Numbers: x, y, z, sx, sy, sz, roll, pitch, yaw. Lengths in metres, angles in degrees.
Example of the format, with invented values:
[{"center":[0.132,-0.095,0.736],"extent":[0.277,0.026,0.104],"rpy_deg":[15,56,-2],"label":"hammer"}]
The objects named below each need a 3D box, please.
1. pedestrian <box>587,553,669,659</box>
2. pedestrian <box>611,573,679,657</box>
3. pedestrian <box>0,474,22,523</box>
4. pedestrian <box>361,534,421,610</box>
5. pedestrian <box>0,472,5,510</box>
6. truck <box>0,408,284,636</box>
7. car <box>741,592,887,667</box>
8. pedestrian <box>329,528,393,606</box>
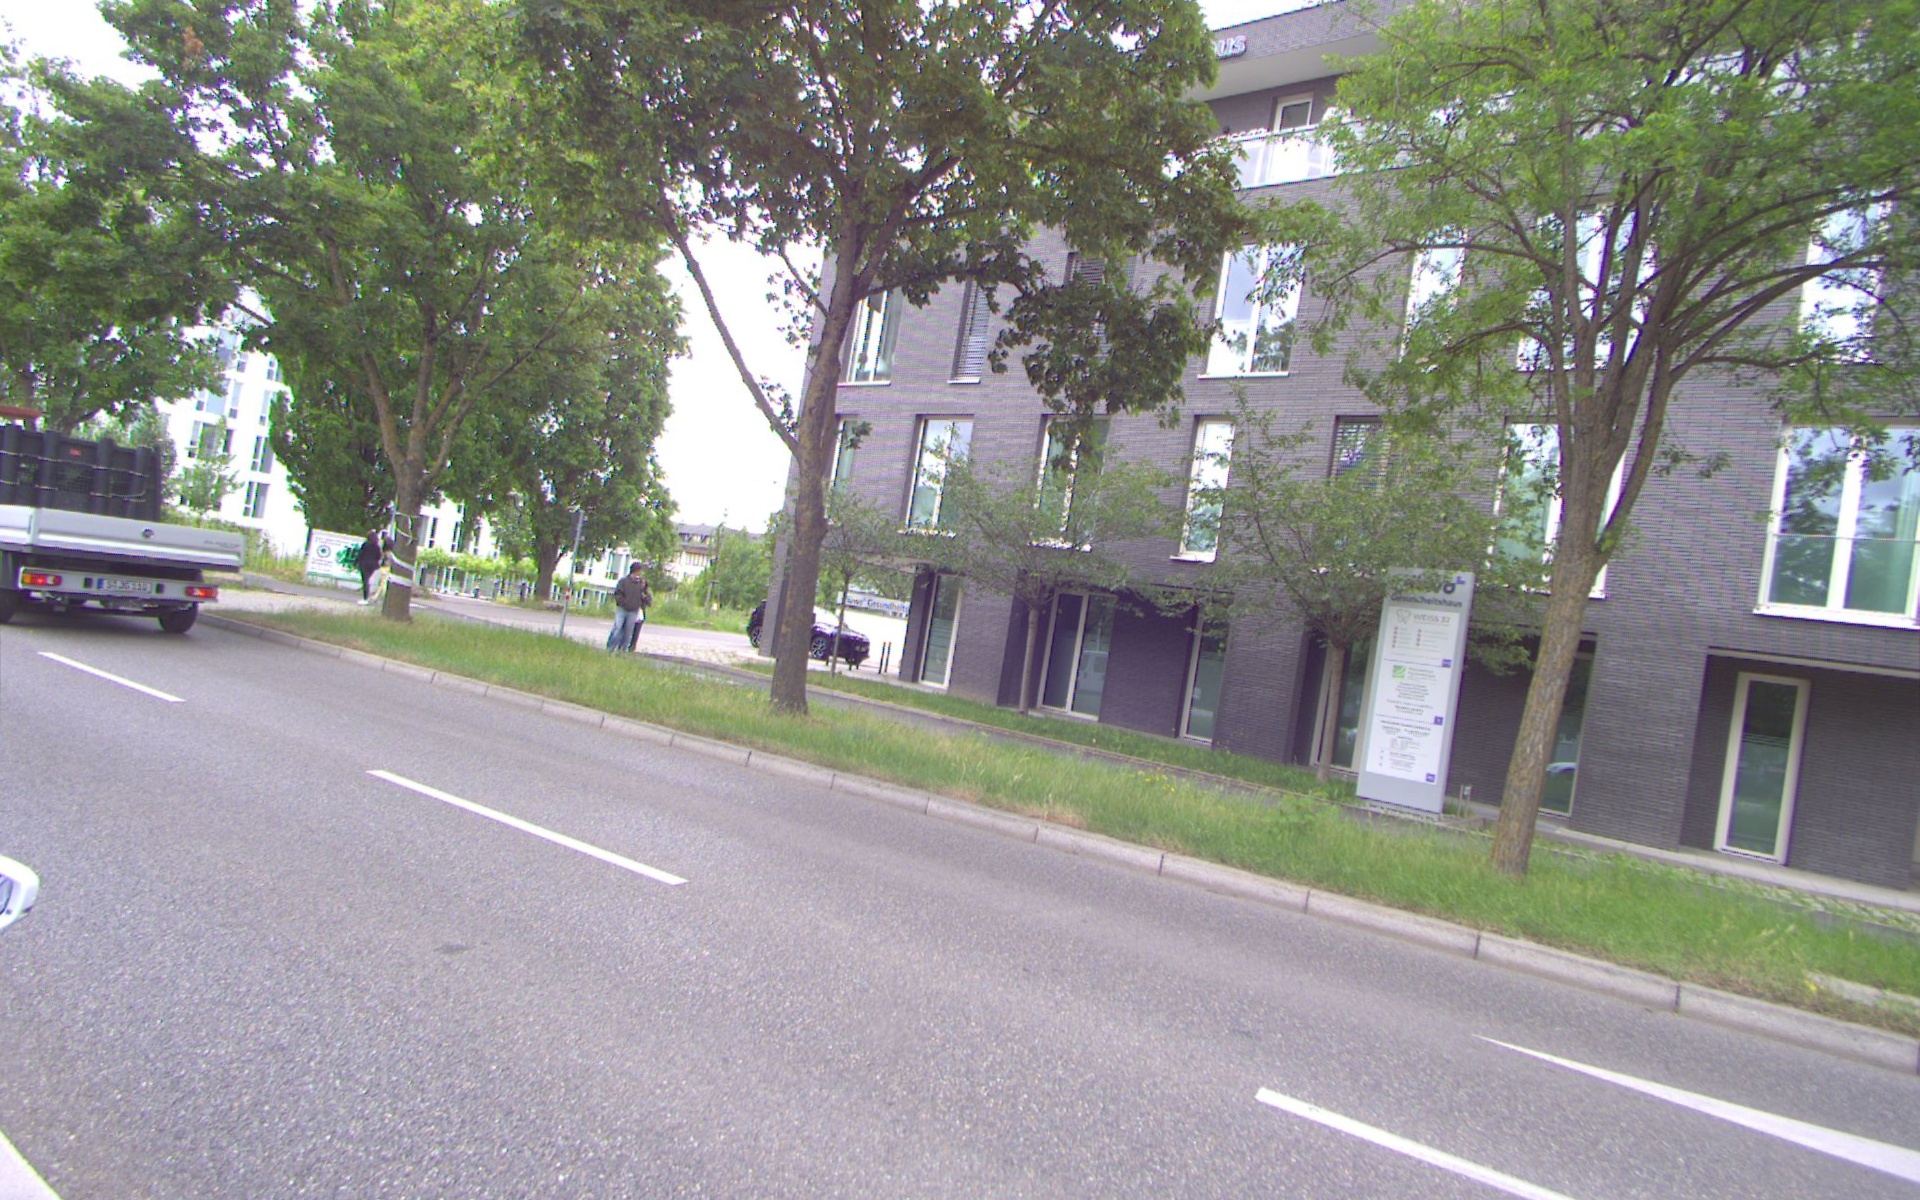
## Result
[{"center":[-6.527,0.120,19.776],"extent":[0.965,1.889,0.959],"rpy_deg":[7,-2,41],"label":"pedestrian"},{"center":[-6.554,0.313,20.928],"extent":[0.863,1.575,0.832],"rpy_deg":[7,-2,40],"label":"pedestrian"},{"center":[-35.307,-3.767,37.034],"extent":[0.868,1.705,0.768],"rpy_deg":[6,-1,31],"label":"pedestrian"},{"center":[-13.931,-0.685,24.639],"extent":[0.937,1.679,0.779],"rpy_deg":[7,-1,38],"label":"pedestrian"},{"center":[-31.704,-3.435,32.644],"extent":[0.663,1.592,0.743],"rpy_deg":[7,-1,31],"label":"pedestrian"},{"center":[-11.526,-1.081,12.986],"extent":[5.746,2.228,2.217],"rpy_deg":[7,-2,31],"label":"truck"},{"center":[-4.494,0.889,30.760],"extent":[4.080,1.665,1.759],"rpy_deg":[7,-2,32],"label":"car"},{"center":[-14.271,-0.784,23.972],"extent":[1.043,1.679,0.796],"rpy_deg":[7,-1,38],"label":"pedestrian"}]
